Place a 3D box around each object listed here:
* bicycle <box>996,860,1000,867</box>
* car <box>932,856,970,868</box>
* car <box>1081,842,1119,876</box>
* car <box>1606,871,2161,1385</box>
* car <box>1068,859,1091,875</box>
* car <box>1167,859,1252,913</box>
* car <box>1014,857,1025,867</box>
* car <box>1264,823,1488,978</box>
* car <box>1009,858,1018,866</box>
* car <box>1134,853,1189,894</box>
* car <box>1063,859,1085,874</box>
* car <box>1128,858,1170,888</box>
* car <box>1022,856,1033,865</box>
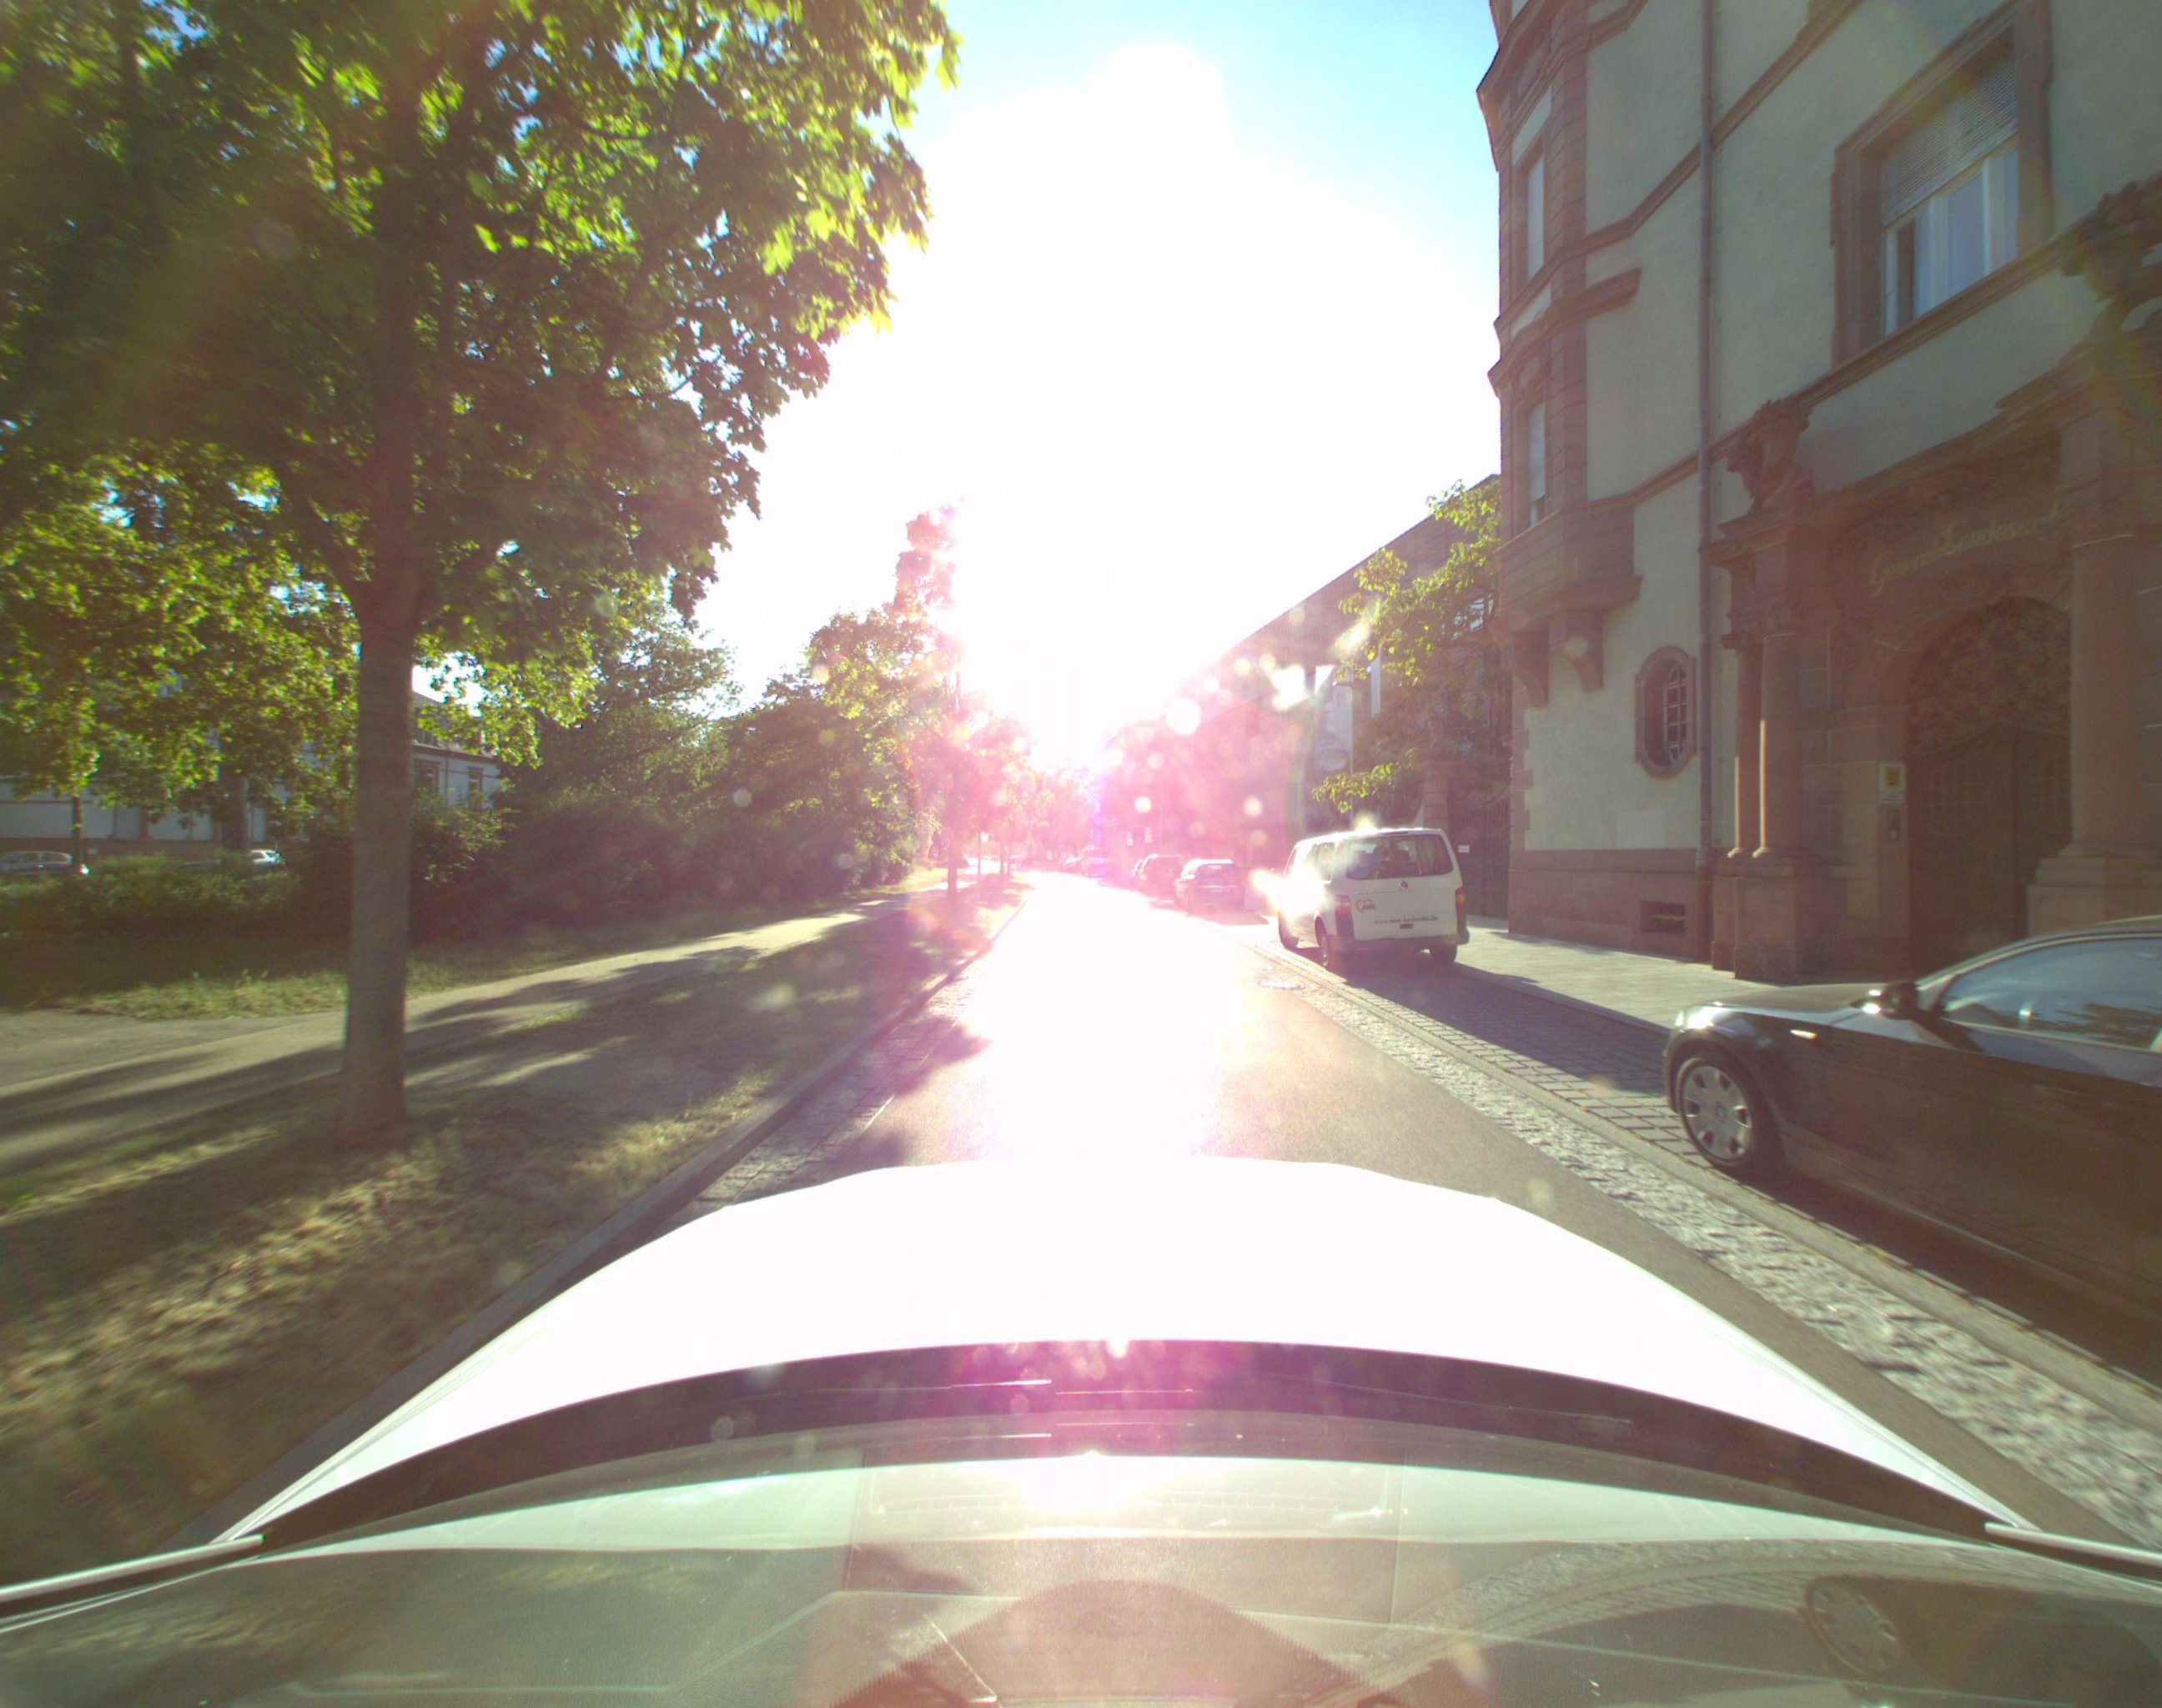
[{"bbox_3d":[-14.936,1.760,146.211,0.687,1.202,2.340,1,1,-3],"label":"bicycle"},{"bbox_3d":[-15.055,0.925,94.657,4.015,1.420,1.753,1,0,-34],"label":"car"},{"bbox_3d":[1.423,0.410,64.616,2.208,2.530,6.134,-1,0,-6],"label":"car"},{"bbox_3d":[3.934,0.807,2.769,1.673,1.403,4.201,-1,0,2],"label":"car"},{"bbox_3d":[-0.136,1.196,75.556,1.689,1.440,3.541,0,0,-8],"label":"car"},{"bbox_3d":[3.884,0.920,25.339,1.743,1.466,4.474,-2,0,-2],"label":"car"},{"bbox_3d":[-11.559,1.486,153.048,1.791,1.724,3.991,1,0,-6],"label":"car"},{"bbox_3d":[4.457,0.625,13.252,1.986,1.966,4.852,-3,0,2],"label":"car"},{"bbox_3d":[-13.923,1.626,168.133,1.791,1.510,3.991,1,0,-6],"label":"car"},{"bbox_3d":[3.482,0.812,35.756,1.721,1.669,4.108,-1,0,-4],"label":"car"},{"bbox_3d":[-0.749,1.206,80.970,1.689,1.440,4.093,0,0,-8],"label":"car"},{"bbox_3d":[3.435,0.951,41.719,1.720,1.421,3.902,0,0,-2],"label":"car"},{"bbox_3d":[-9.126,1.049,139.259,1.790,1.510,3.995,1,0,-3],"label":"car"}]
